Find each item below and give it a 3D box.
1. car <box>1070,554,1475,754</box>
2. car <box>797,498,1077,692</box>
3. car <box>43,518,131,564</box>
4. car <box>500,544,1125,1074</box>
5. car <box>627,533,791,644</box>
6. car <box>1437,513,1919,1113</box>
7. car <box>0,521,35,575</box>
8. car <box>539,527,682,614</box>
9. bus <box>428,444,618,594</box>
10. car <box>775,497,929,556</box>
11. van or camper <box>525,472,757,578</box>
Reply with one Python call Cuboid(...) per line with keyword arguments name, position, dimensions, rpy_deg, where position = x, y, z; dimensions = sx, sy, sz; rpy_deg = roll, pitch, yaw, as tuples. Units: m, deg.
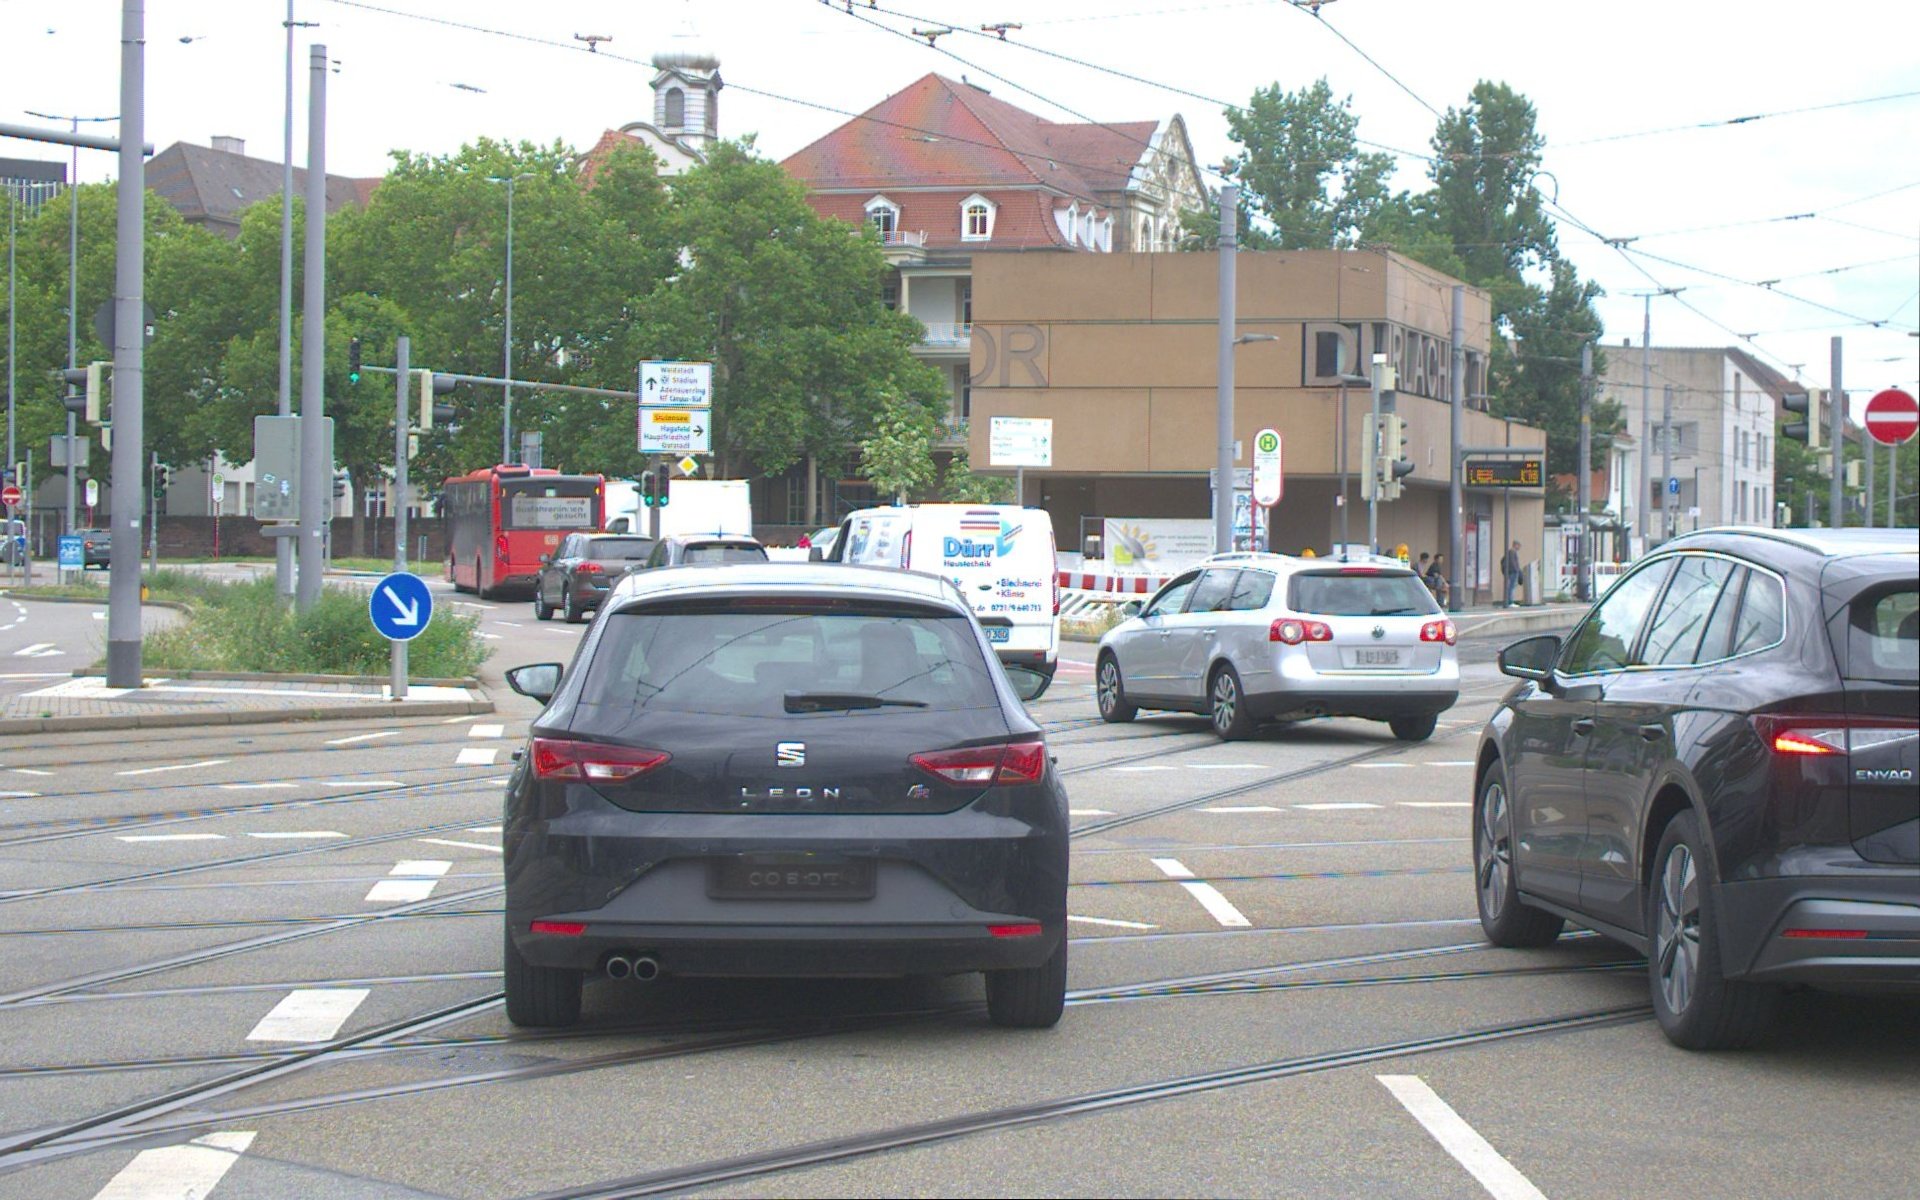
Cuboid(name="car", position=(2.485, 0.379, 28.624), dimensions=(1.720, 1.477, 4.630), rpy_deg=(0, 1, -17))
Cuboid(name="car", position=(-0.349, -0.097, 38.621), dimensions=(1.993, 2.012, 5.033), rpy_deg=(1, 1, -14))
Cuboid(name="car", position=(-30.593, -2.076, 120.440), dimensions=(1.993, 1.534, 4.000), rpy_deg=(0, 1, -29))
Cuboid(name="car", position=(-0.677, 0.574, 11.799), dimensions=(1.745, 1.459, 4.001), rpy_deg=(2, 1, -8))
Cuboid(name="car", position=(-3.877, -0.206, 52.515), dimensions=(1.857, 1.595, 4.206), rpy_deg=(1, 1, -13))
Cuboid(name="car", position=(3.013, 0.559, 11.774), dimensions=(1.903, 1.652, 4.515), rpy_deg=(1, 1, -3))
Cuboid(name="car", position=(-36.752, -1.985, 130.371), dimensions=(1.994, 2.007, 4.000), rpy_deg=(0, 1, -34))
Cuboid(name="car", position=(-6.559, -0.576, 64.169), dimensions=(1.993, 1.560, 4.206), rpy_deg=(1, 1, -15))
Cuboid(name="bus", position=(-10.682, -1.894, 82.811), dimensions=(3.057, 3.286, 12.383), rpy_deg=(1, 1, -14))
Cuboid(name="car", position=(-3.665, -2.479, 117.356), dimensions=(4.989, 1.858, 1.999), rpy_deg=(0, -2, -36))
Cuboid(name="van or camper", position=(-10.404, -2.399, 112.542), dimensions=(7.130, 3.321, 2.876), rpy_deg=(0, 0, -37))
